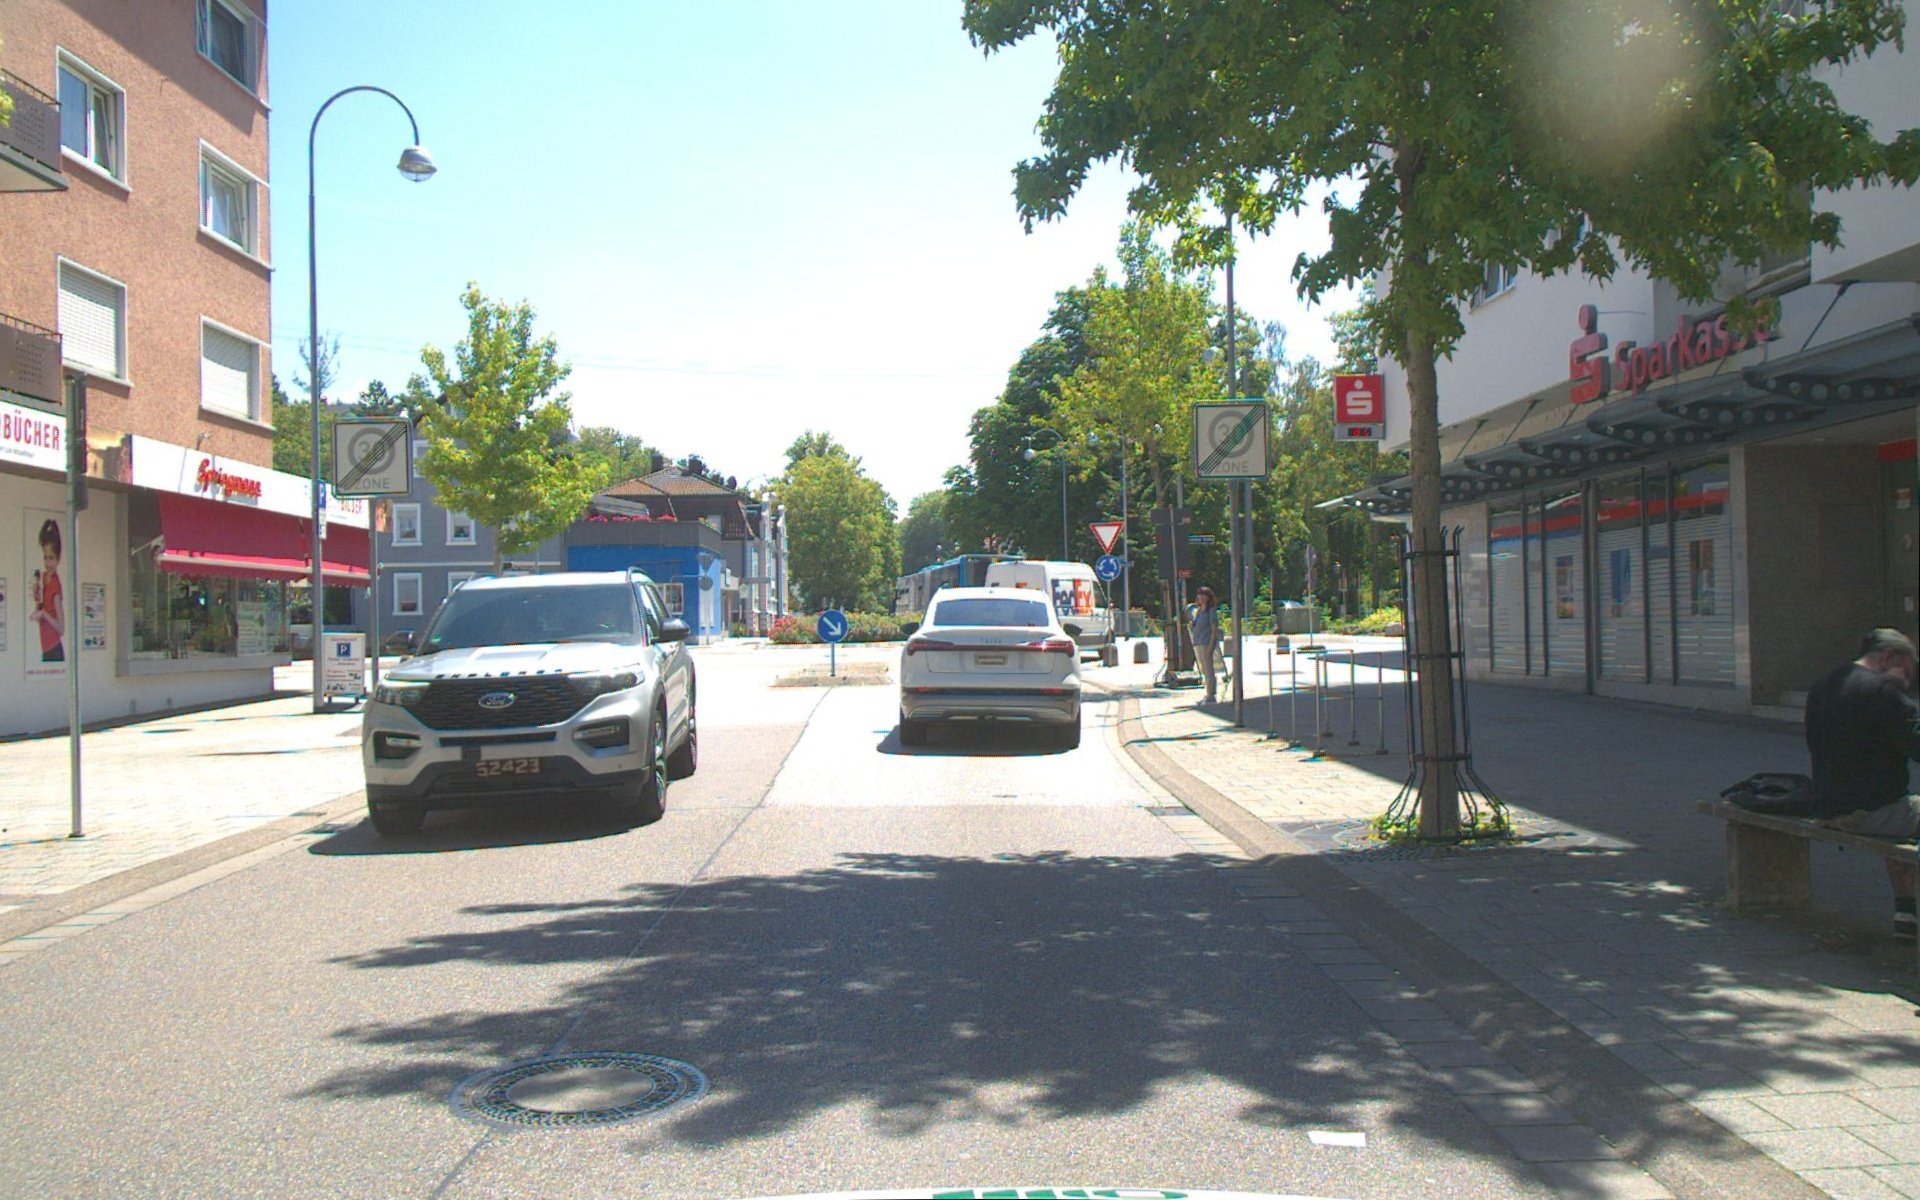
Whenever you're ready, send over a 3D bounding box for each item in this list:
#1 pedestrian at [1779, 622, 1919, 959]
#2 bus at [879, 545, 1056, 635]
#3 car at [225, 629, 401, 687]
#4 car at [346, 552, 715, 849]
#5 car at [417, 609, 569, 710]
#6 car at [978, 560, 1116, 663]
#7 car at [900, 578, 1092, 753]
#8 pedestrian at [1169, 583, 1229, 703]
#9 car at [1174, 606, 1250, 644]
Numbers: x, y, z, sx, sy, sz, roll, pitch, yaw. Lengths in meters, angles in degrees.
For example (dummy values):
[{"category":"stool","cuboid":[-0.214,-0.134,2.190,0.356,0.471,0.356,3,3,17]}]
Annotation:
[{"category":"pedestrian","cuboid":[3.725,0.727,6.524,0.744,1.262,0.538,-2,-1,13]},{"category":"bus","cuboid":[-0.128,-0.240,69.033,3.641,3.227,18.012,1,-1,-12]},{"category":"car","cuboid":[-18.589,1.665,47.658,4.334,1.483,1.768,-2,0,-1]},{"category":"car","cuboid":[-3.070,0.646,12.871,1.863,1.784,4.752,-3,0,-4]},{"category":"car","cuboid":[-7.704,0.935,27.630,1.634,1.512,4.057,1,0,-5]},{"category":"car","cuboid":[2.364,0.289,43.309,1.952,2.524,5.484,-1,0,21]},{"category":"car","cuboid":[0.337,0.648,18.284,1.859,1.691,4.408,0,0,-1]},{"category":"pedestrian","cuboid":[3.340,0.590,23.113,0.717,1.638,0.559,-2,0,0]},{"category":"car","cuboid":[11.365,1.114,74.670,2.998,1.580,1.628,-1,0,-15]}]
